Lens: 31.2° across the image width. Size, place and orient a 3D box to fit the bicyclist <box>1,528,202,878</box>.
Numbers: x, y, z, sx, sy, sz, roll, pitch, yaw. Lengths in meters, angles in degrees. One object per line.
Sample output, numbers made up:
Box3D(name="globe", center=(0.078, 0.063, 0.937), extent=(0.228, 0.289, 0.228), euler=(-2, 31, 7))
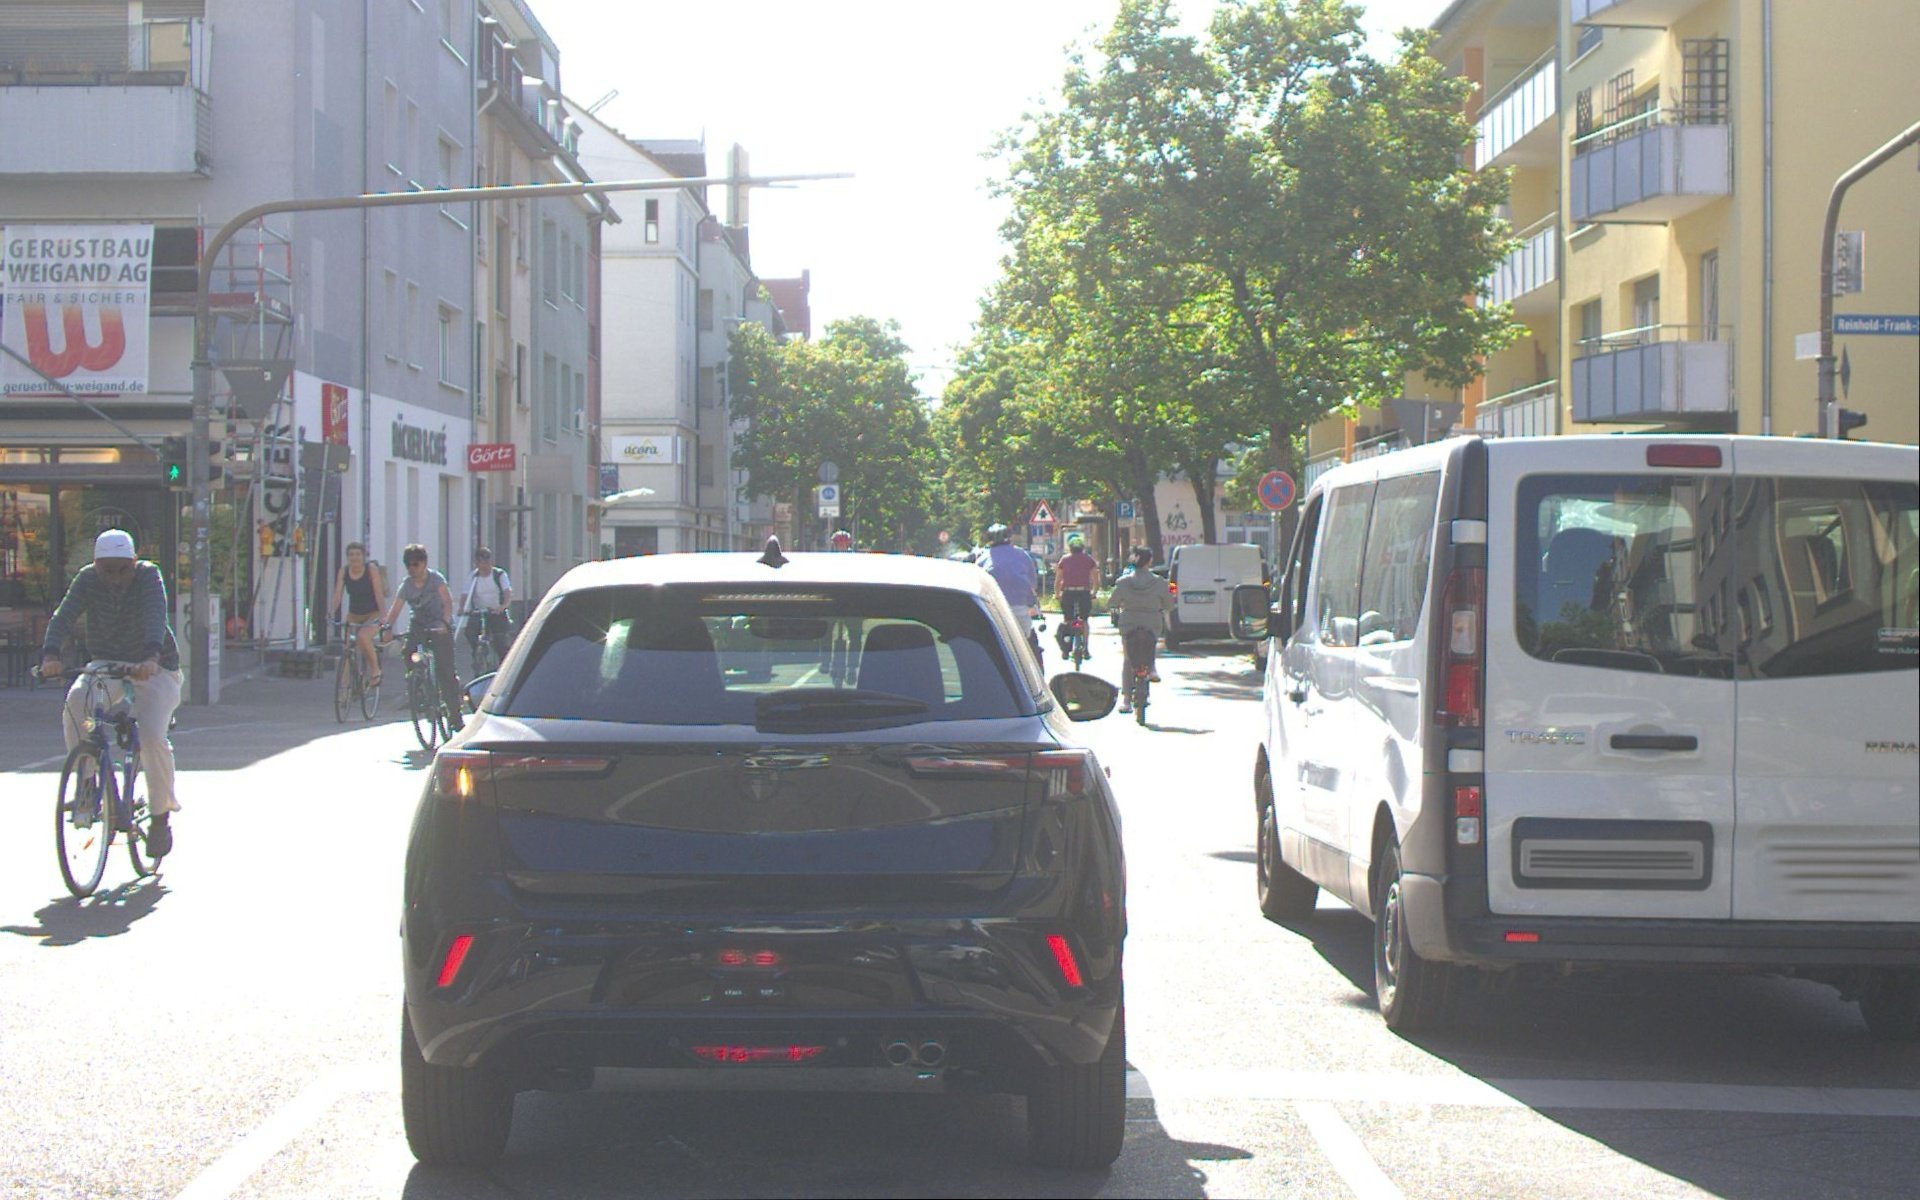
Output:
Box3D(name="bicyclist", center=(-3.999, 0.462, 16.071), extent=(0.679, 1.571, 0.899), euler=(-2, 1, -1))

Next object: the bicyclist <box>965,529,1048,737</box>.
Box3D(name="bicyclist", center=(0.372, 0.257, 28.112), extent=(0.632, 1.663, 1.050), euler=(-1, 1, -1))

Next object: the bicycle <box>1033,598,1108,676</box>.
Box3D(name="bicycle", center=(1.457, 0.479, 45.625), extent=(0.856, 0.942, 2.307), euler=(2, 1, -1))

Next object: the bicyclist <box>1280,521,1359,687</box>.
Box3D(name="bicyclist", center=(3.017, 0.027, 28.890), extent=(0.588, 1.378, 0.823), euler=(0, 1, 1))

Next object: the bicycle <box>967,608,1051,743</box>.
Box3D(name="bicycle", center=(0.392, 0.598, 28.151), extent=(0.632, 1.038, 1.795), euler=(-1, 1, -1))

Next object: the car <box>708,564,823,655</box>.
Box3D(name="car", center=(-3.249, 0.132, 57.579), extent=(1.804, 1.408, 4.426), euler=(-2, 1, -3))

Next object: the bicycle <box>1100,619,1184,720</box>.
Box3D(name="bicycle", center=(1.657, 0.621, 31.487), extent=(0.691, 0.863, 1.876), euler=(0, 1, 1))

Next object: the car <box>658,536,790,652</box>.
Box3D(name="car", center=(-3.309, -0.091, 48.842), extent=(1.592, 1.560, 4.089), euler=(-1, 0, 0))

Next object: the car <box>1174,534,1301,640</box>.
Box3D(name="car", center=(4.948, -0.258, 61.882), extent=(2.046, 1.840, 4.584), euler=(0, 1, 2))

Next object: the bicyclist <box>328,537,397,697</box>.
Box3D(name="bicyclist", center=(-5.726, 0.157, 32.970), extent=(0.542, 1.515, 0.774), euler=(0, 1, -1))

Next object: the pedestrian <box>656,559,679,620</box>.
Box3D(name="pedestrian", center=(-7.607, -0.283, 89.358), extent=(0.577, 1.577, 0.708), euler=(0, 1, -6))

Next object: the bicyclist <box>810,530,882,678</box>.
Box3D(name="bicyclist", center=(-1.279, 0.038, 38.794), extent=(0.801, 1.644, 1.125), euler=(0, 1, -1))

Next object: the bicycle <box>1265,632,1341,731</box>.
Box3D(name="bicycle", center=(3.230, 0.754, 32.444), extent=(0.547, 0.863, 1.876), euler=(0, 1, 1))

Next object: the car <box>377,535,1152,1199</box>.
Box3D(name="car", center=(-0.473, 0.615, 9.837), extent=(1.762, 1.553, 4.000), euler=(0, 0, -1))

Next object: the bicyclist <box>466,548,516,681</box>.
Box3D(name="bicyclist", center=(-5.523, 0.168, 40.448), extent=(0.553, 1.543, 0.815), euler=(1, 0, -8))

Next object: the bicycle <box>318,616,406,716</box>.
Box3D(name="bicycle", center=(-5.726, 0.623, 32.993), extent=(0.542, 0.899, 1.826), euler=(0, 1, -1))

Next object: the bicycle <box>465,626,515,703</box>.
Box3D(name="bicycle", center=(-5.532, 0.745, 40.402), extent=(0.553, 0.831, 2.132), euler=(1, 1, -8))

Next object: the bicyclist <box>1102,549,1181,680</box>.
Box3D(name="bicyclist", center=(1.659, 0.126, 31.471), extent=(0.692, 1.189, 0.595), euler=(0, 1, 1))

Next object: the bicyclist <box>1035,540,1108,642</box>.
Box3D(name="bicyclist", center=(1.477, -0.125, 45.656), extent=(0.856, 1.310, 1.210), euler=(2, 1, -1))

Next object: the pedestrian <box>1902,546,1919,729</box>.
Box3D(name="pedestrian", center=(9.433, 0.356, 33.105), extent=(0.525, 1.756, 0.623), euler=(0, 1, -2))

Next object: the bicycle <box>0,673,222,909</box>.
Box3D(name="bicycle", center=(-3.983, 0.857, 15.978), extent=(0.679, 0.949, 1.934), euler=(-2, 1, -1))

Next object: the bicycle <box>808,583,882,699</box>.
Box3D(name="bicycle", center=(-1.283, 0.445, 38.722), extent=(0.801, 1.251, 2.139), euler=(0, 1, -1))

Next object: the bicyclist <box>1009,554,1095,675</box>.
Box3D(name="bicyclist", center=(1.023, 0.151, 38.493), extent=(0.856, 1.310, 1.210), euler=(2, 1, -1))

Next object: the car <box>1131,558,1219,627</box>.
Box3D(name="car", center=(4.677, -0.182, 75.119), extent=(1.712, 1.478, 3.381), euler=(0, 1, 0))

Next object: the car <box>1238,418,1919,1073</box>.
Box3D(name="car", center=(2.288, 0.425, 12.871), extent=(1.968, 1.933, 5.056), euler=(1, 0, -1))

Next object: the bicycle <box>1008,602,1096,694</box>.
Box3D(name="bicycle", center=(1.010, 0.521, 38.461), extent=(0.856, 0.942, 2.307), euler=(2, 1, -1))

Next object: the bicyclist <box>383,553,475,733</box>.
Box3D(name="bicyclist", center=(-4.150, 0.326, 26.899), extent=(0.543, 1.386, 0.788), euler=(0, 1, 5))

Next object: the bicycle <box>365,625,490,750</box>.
Box3D(name="bicycle", center=(-4.151, 0.668, 26.895), extent=(0.543, 0.899, 1.826), euler=(0, 1, 5))

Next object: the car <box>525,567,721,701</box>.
Box3D(name="car", center=(-3.790, 0.350, 39.266), extent=(1.837, 1.429, 4.177), euler=(0, 1, 0))

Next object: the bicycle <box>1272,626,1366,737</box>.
Box3D(name="bicycle", center=(3.024, 0.676, 29.094), extent=(0.620, 0.863, 1.876), euler=(0, 1, 1))
